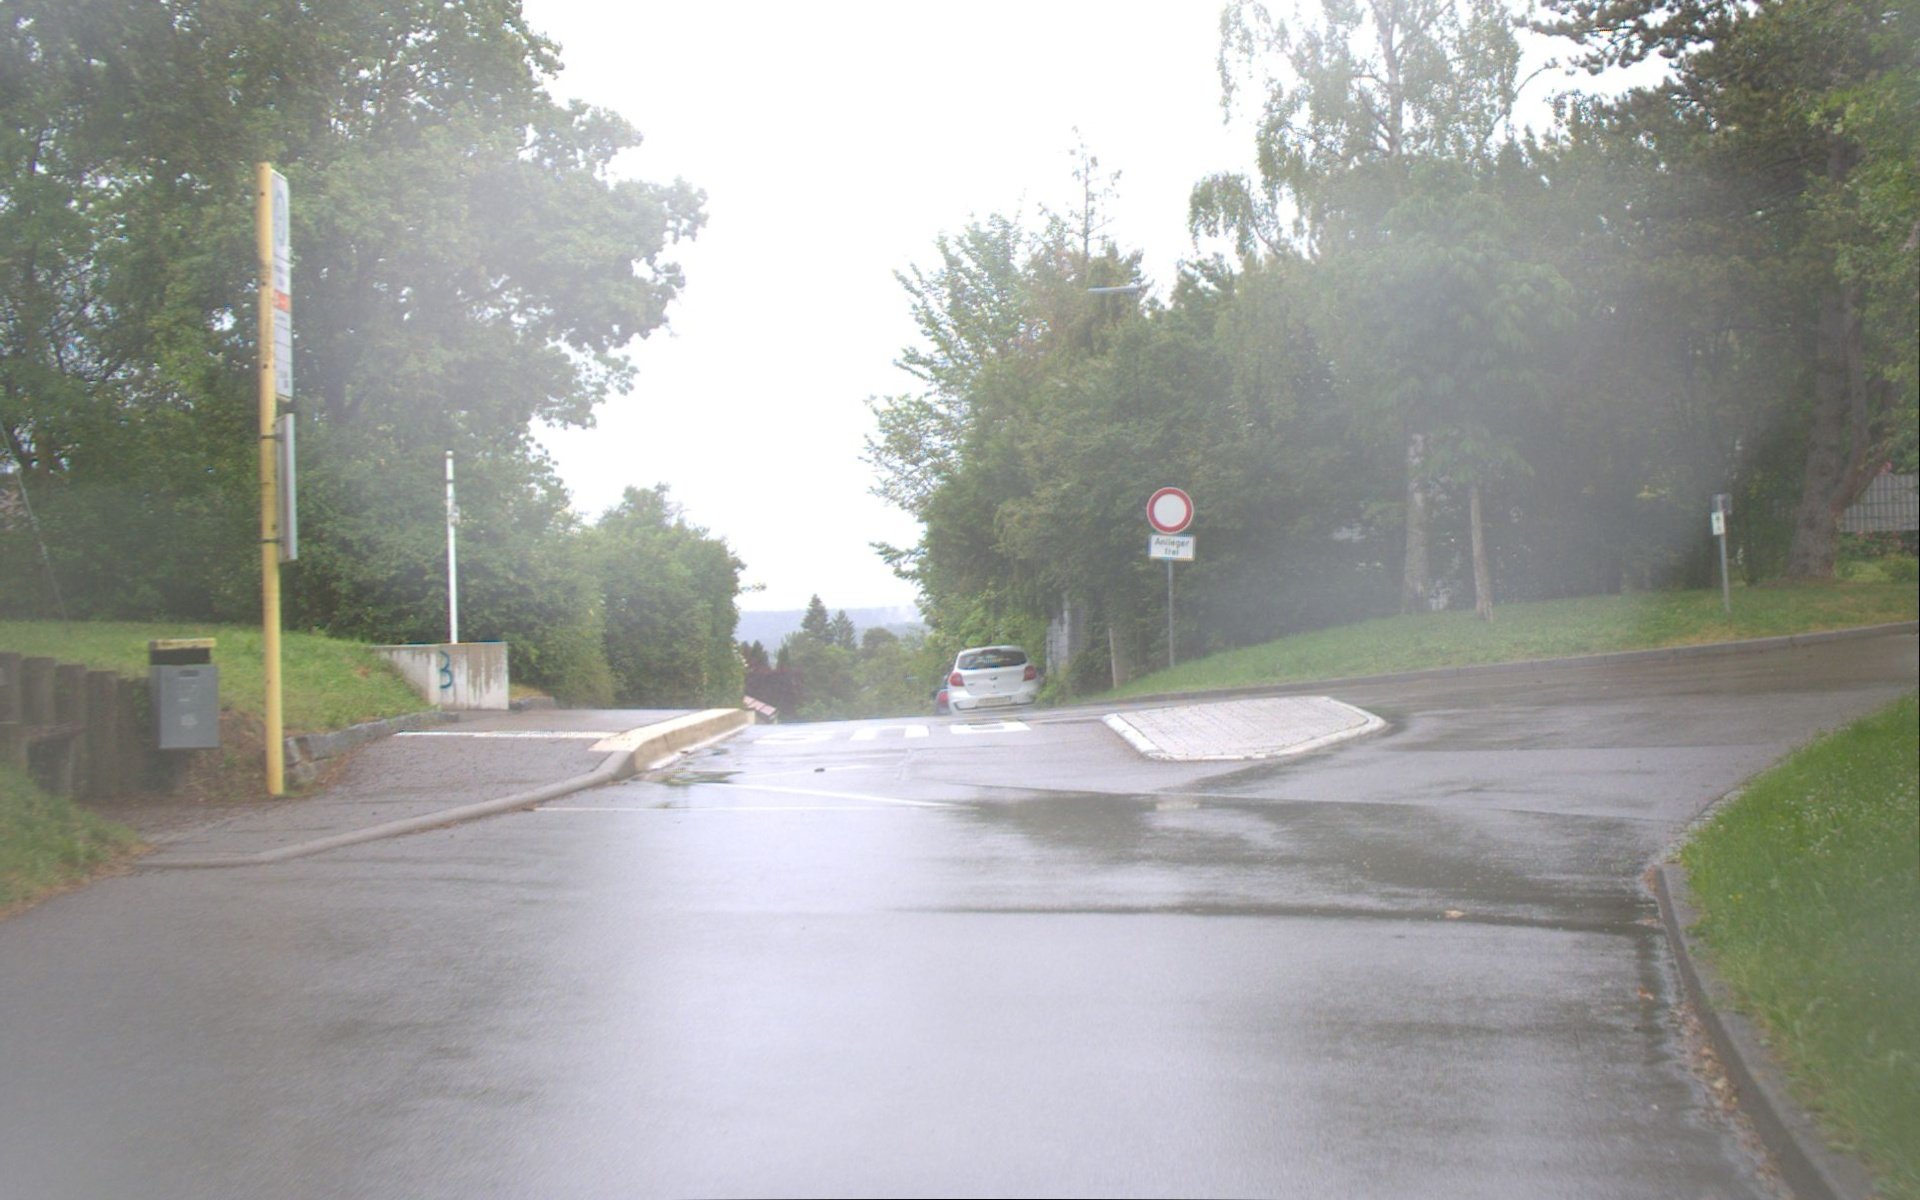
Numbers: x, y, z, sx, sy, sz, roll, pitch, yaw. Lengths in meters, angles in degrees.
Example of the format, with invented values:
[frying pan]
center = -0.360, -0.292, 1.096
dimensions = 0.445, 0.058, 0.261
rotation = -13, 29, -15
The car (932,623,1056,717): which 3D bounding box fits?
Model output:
[car]
center = 0.645, 1.298, 62.392
dimensions = 1.994, 1.578, 3.999
rotation = -1, -3, 4
